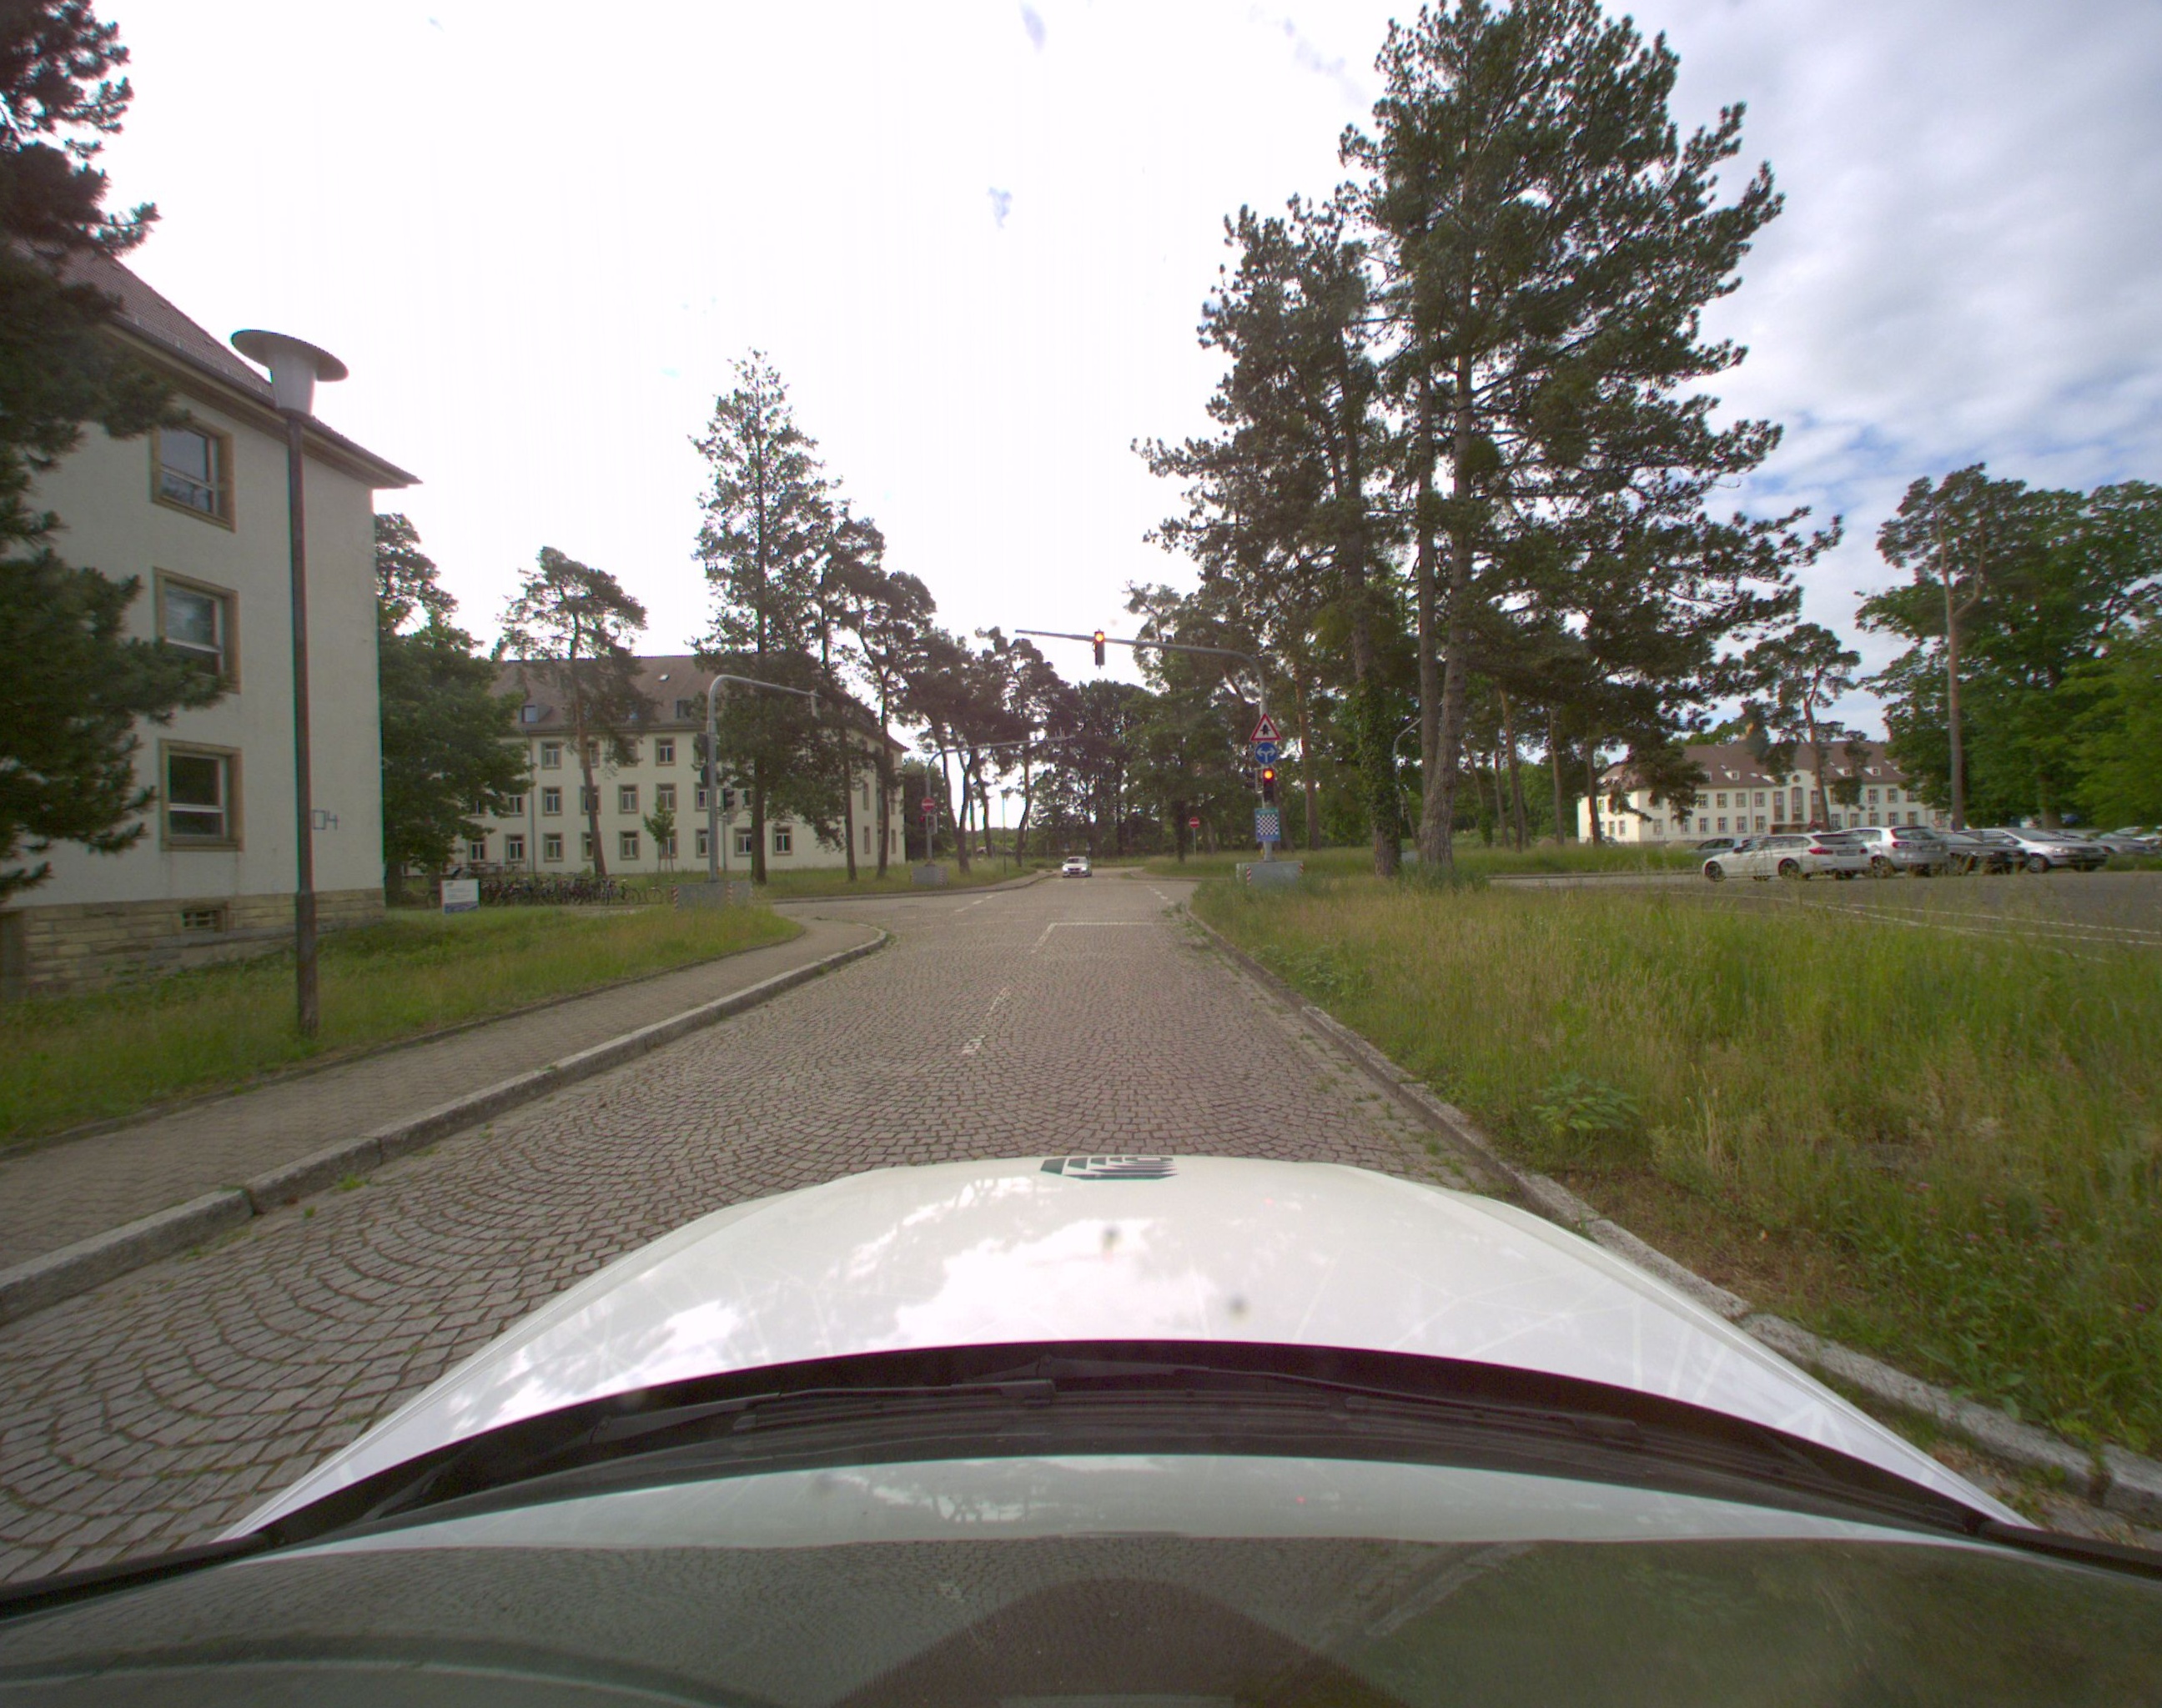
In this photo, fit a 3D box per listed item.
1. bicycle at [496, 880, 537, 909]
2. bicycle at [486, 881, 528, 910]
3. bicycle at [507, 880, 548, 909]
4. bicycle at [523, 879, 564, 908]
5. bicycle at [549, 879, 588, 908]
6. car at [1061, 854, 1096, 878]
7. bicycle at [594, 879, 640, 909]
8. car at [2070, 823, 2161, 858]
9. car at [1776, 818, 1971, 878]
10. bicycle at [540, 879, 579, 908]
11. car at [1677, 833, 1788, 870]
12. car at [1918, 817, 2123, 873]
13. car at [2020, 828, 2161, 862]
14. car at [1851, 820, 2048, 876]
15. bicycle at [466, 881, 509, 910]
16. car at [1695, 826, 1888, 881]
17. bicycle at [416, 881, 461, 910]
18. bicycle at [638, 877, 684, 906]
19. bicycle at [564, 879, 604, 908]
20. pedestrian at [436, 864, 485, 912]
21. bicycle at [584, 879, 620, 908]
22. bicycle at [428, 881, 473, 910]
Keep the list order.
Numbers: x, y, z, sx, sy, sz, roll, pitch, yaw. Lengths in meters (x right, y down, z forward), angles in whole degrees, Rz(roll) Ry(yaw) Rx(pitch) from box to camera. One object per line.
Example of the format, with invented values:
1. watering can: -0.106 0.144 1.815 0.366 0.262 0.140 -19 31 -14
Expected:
1. bicycle: -22.903 1.627 33.073 0.512 1.079 1.586 -2 0 2
2. bicycle: -23.287 1.657 33.069 0.512 1.079 1.586 -2 0 2
3. bicycle: -22.451 1.622 33.077 0.512 1.079 1.586 -2 0 2
4. bicycle: -21.829 1.598 33.092 0.512 1.079 1.586 -2 0 2
5. bicycle: -20.837 1.585 33.126 0.512 1.079 1.586 -2 0 2
6. car: -0.143 0.814 56.629 1.763 1.438 4.227 -4 0 8
7. bicycle: -18.071 1.540 31.714 1.460 1.079 0.516 -2 0 -1
8. car: 47.429 -0.596 36.390 1.608 1.501 4.252 -1 0 7
9. car: 24.325 -0.103 25.259 1.777 1.605 4.240 -2 -3 -1
10. bicycle: -21.198 1.586 33.134 0.512 1.079 1.586 -2 0 2
11. car: 29.092 -0.110 36.551 1.727 1.509 4.247 -1 0 3
12. car: 29.702 -0.212 25.986 1.694 1.485 4.245 -2 -3 3
13. car: 44.545 -0.391 35.889 1.724 1.390 4.252 -1 0 7
14. car: 26.956 -0.113 25.529 1.694 1.485 4.245 -2 -3 3
15. bicycle: -24.083 1.677 33.076 0.512 1.079 1.586 -2 0 2
16. car: 21.689 0.054 25.173 1.843 1.487 4.606 0 -3 -1
17. bicycle: -26.112 1.689 33.117 0.512 1.079 1.586 -2 0 2
18. bicycle: -16.434 1.461 31.867 1.460 1.065 0.516 -2 0 -1
19. bicycle: -20.135 1.582 33.027 0.512 1.079 1.587 -2 0 4
20. pedestrian: -24.706 1.341 32.429 1.050 1.788 1.165 -1 1 29
21. bicycle: -19.456 1.581 33.110 0.513 1.079 1.584 -2 0 -1
22. bicycle: -25.611 1.688 33.123 0.512 1.079 1.586 -2 0 2
